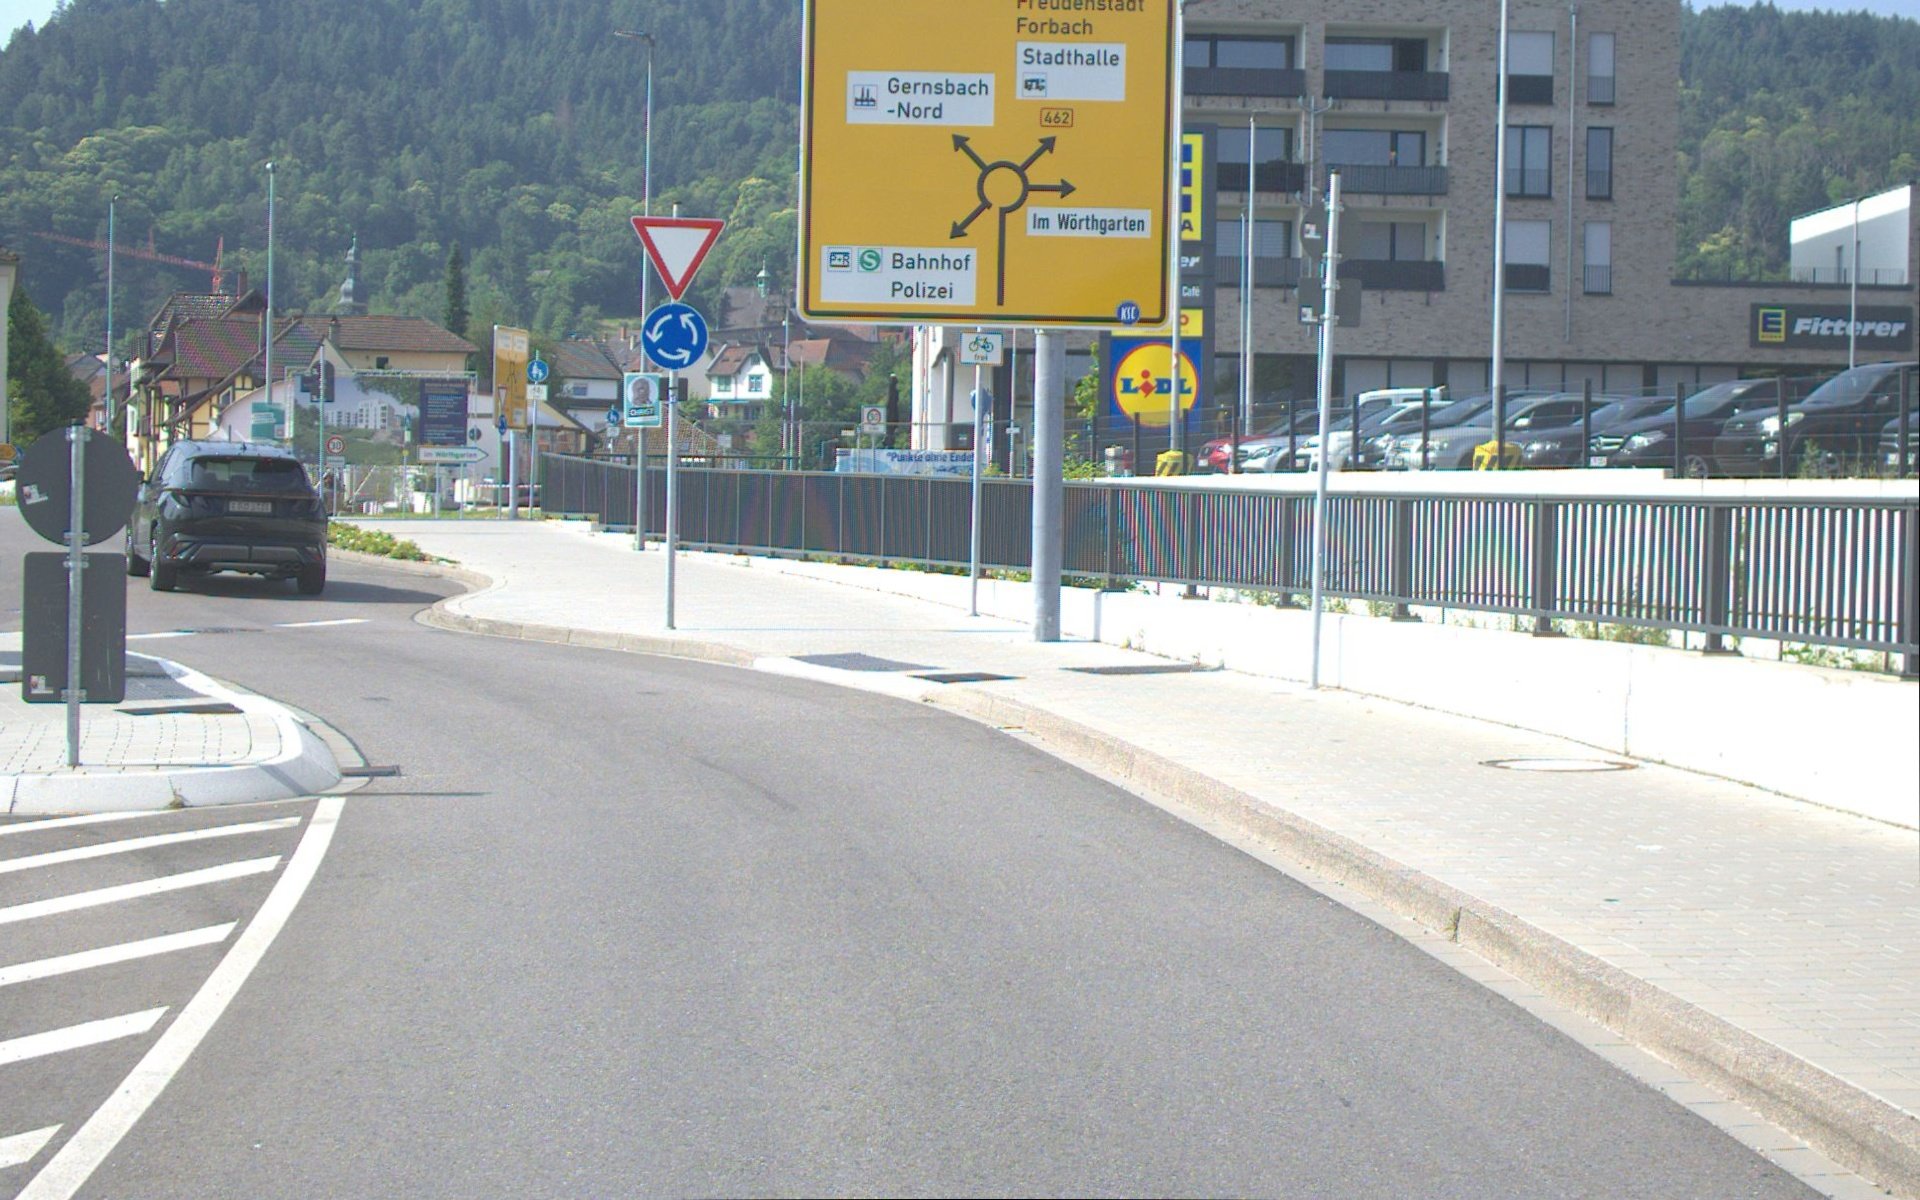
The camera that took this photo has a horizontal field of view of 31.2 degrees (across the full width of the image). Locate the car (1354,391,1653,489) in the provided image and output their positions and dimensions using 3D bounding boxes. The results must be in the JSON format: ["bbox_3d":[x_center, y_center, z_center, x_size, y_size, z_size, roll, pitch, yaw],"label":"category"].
[{"bbox_3d":[8.074,-2.364,51.114,4.035,1.338,1.661,1,2,-15],"label":"car"}]

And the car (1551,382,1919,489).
[{"bbox_3d":[9.818,-2.073,43.607,4.212,1.241,1.745,1,2,-16],"label":"car"}]

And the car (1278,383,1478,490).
[{"bbox_3d":[8.526,-3.336,70.357,3.988,2.128,2.000,0,1,6],"label":"car"}]

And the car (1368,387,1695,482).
[{"bbox_3d":[8.143,-2.346,49.032,4.277,1.241,1.665,1,2,-16],"label":"car"}]

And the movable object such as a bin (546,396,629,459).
[{"bbox_3d":[-11.112,-5.137,102.526,2.443,1.837,1.429,0,1,-6],"label":"movable object such as a bin"}]

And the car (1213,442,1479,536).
[{"bbox_3d":[6.445,-1.853,57.526,4.055,1.482,1.717,1,2,-13],"label":"car"}]

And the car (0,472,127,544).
[{"bbox_3d":[-25.672,-2.593,97.706,1.995,2.007,3.996,1,1,20],"label":"car"}]

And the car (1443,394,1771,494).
[{"bbox_3d":[8.731,-2.104,46.481,3.965,1.241,1.731,1,2,-16],"label":"car"}]

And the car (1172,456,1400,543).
[{"bbox_3d":[5.682,-1.762,60.093,3.554,1.425,1.711,1,2,-15],"label":"car"}]

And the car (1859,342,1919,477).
[{"bbox_3d":[11.803,-1.982,36.675,4.060,1.399,1.486,1,2,-16],"label":"car"}]

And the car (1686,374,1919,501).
[{"bbox_3d":[10.753,-1.871,40.337,4.004,1.399,1.726,1,2,-16],"label":"car"}]

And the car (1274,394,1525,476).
[{"bbox_3d":[6.992,-2.618,54.750,3.554,1.195,1.715,1,2,-15],"label":"car"}]

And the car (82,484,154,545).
[{"bbox_3d":[-28.148,-2.857,114.844,1.993,2.007,4.001,0,1,-19],"label":"car"}]

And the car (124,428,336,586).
[{"bbox_3d":[-8.301,-1.037,38.864,1.880,1.678,4.001,0,1,-19],"label":"car"}]
